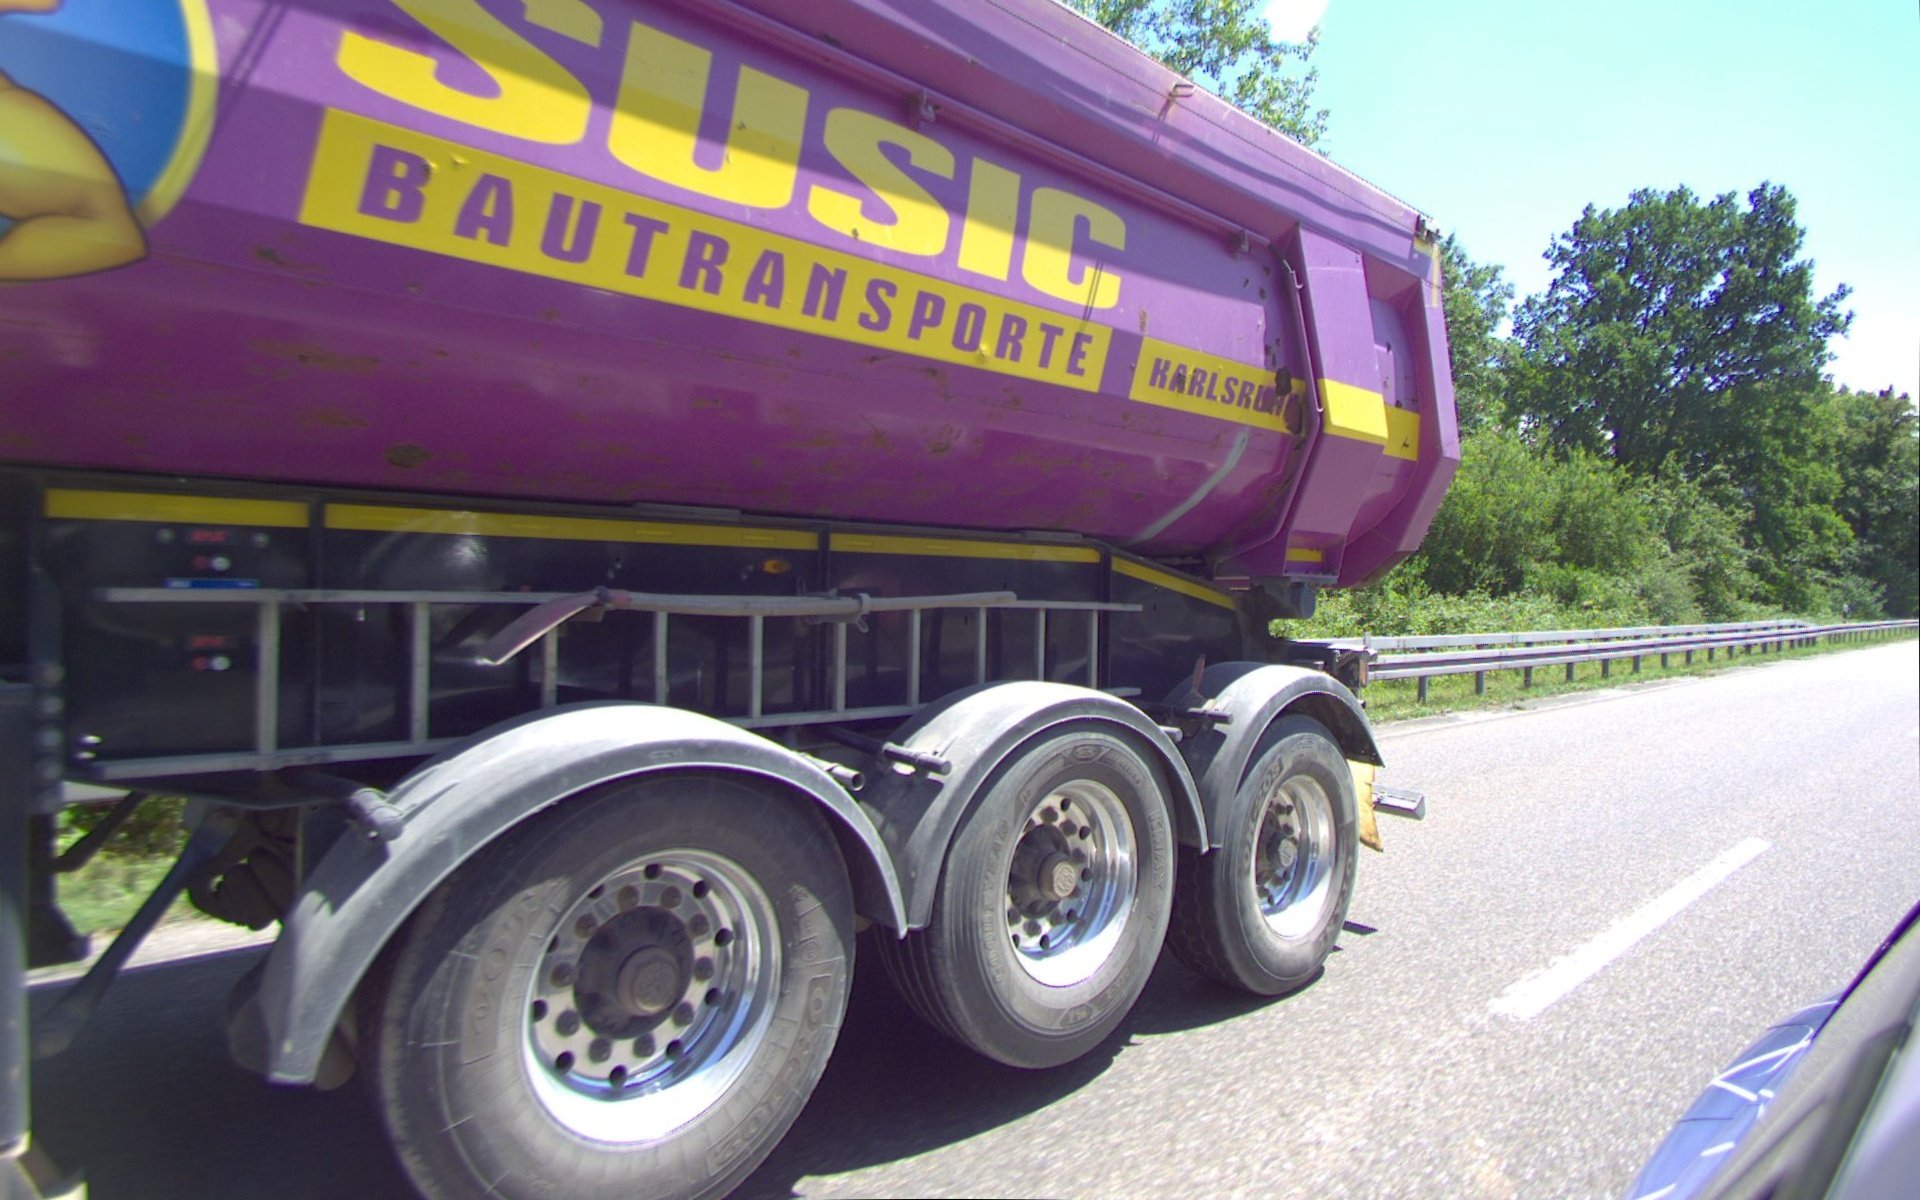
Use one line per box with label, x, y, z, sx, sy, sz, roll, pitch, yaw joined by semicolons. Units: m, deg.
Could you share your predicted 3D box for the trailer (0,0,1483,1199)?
trailer;-1.704;-0.520;2.686;8.464;3.675;2.602;0;1;-42
